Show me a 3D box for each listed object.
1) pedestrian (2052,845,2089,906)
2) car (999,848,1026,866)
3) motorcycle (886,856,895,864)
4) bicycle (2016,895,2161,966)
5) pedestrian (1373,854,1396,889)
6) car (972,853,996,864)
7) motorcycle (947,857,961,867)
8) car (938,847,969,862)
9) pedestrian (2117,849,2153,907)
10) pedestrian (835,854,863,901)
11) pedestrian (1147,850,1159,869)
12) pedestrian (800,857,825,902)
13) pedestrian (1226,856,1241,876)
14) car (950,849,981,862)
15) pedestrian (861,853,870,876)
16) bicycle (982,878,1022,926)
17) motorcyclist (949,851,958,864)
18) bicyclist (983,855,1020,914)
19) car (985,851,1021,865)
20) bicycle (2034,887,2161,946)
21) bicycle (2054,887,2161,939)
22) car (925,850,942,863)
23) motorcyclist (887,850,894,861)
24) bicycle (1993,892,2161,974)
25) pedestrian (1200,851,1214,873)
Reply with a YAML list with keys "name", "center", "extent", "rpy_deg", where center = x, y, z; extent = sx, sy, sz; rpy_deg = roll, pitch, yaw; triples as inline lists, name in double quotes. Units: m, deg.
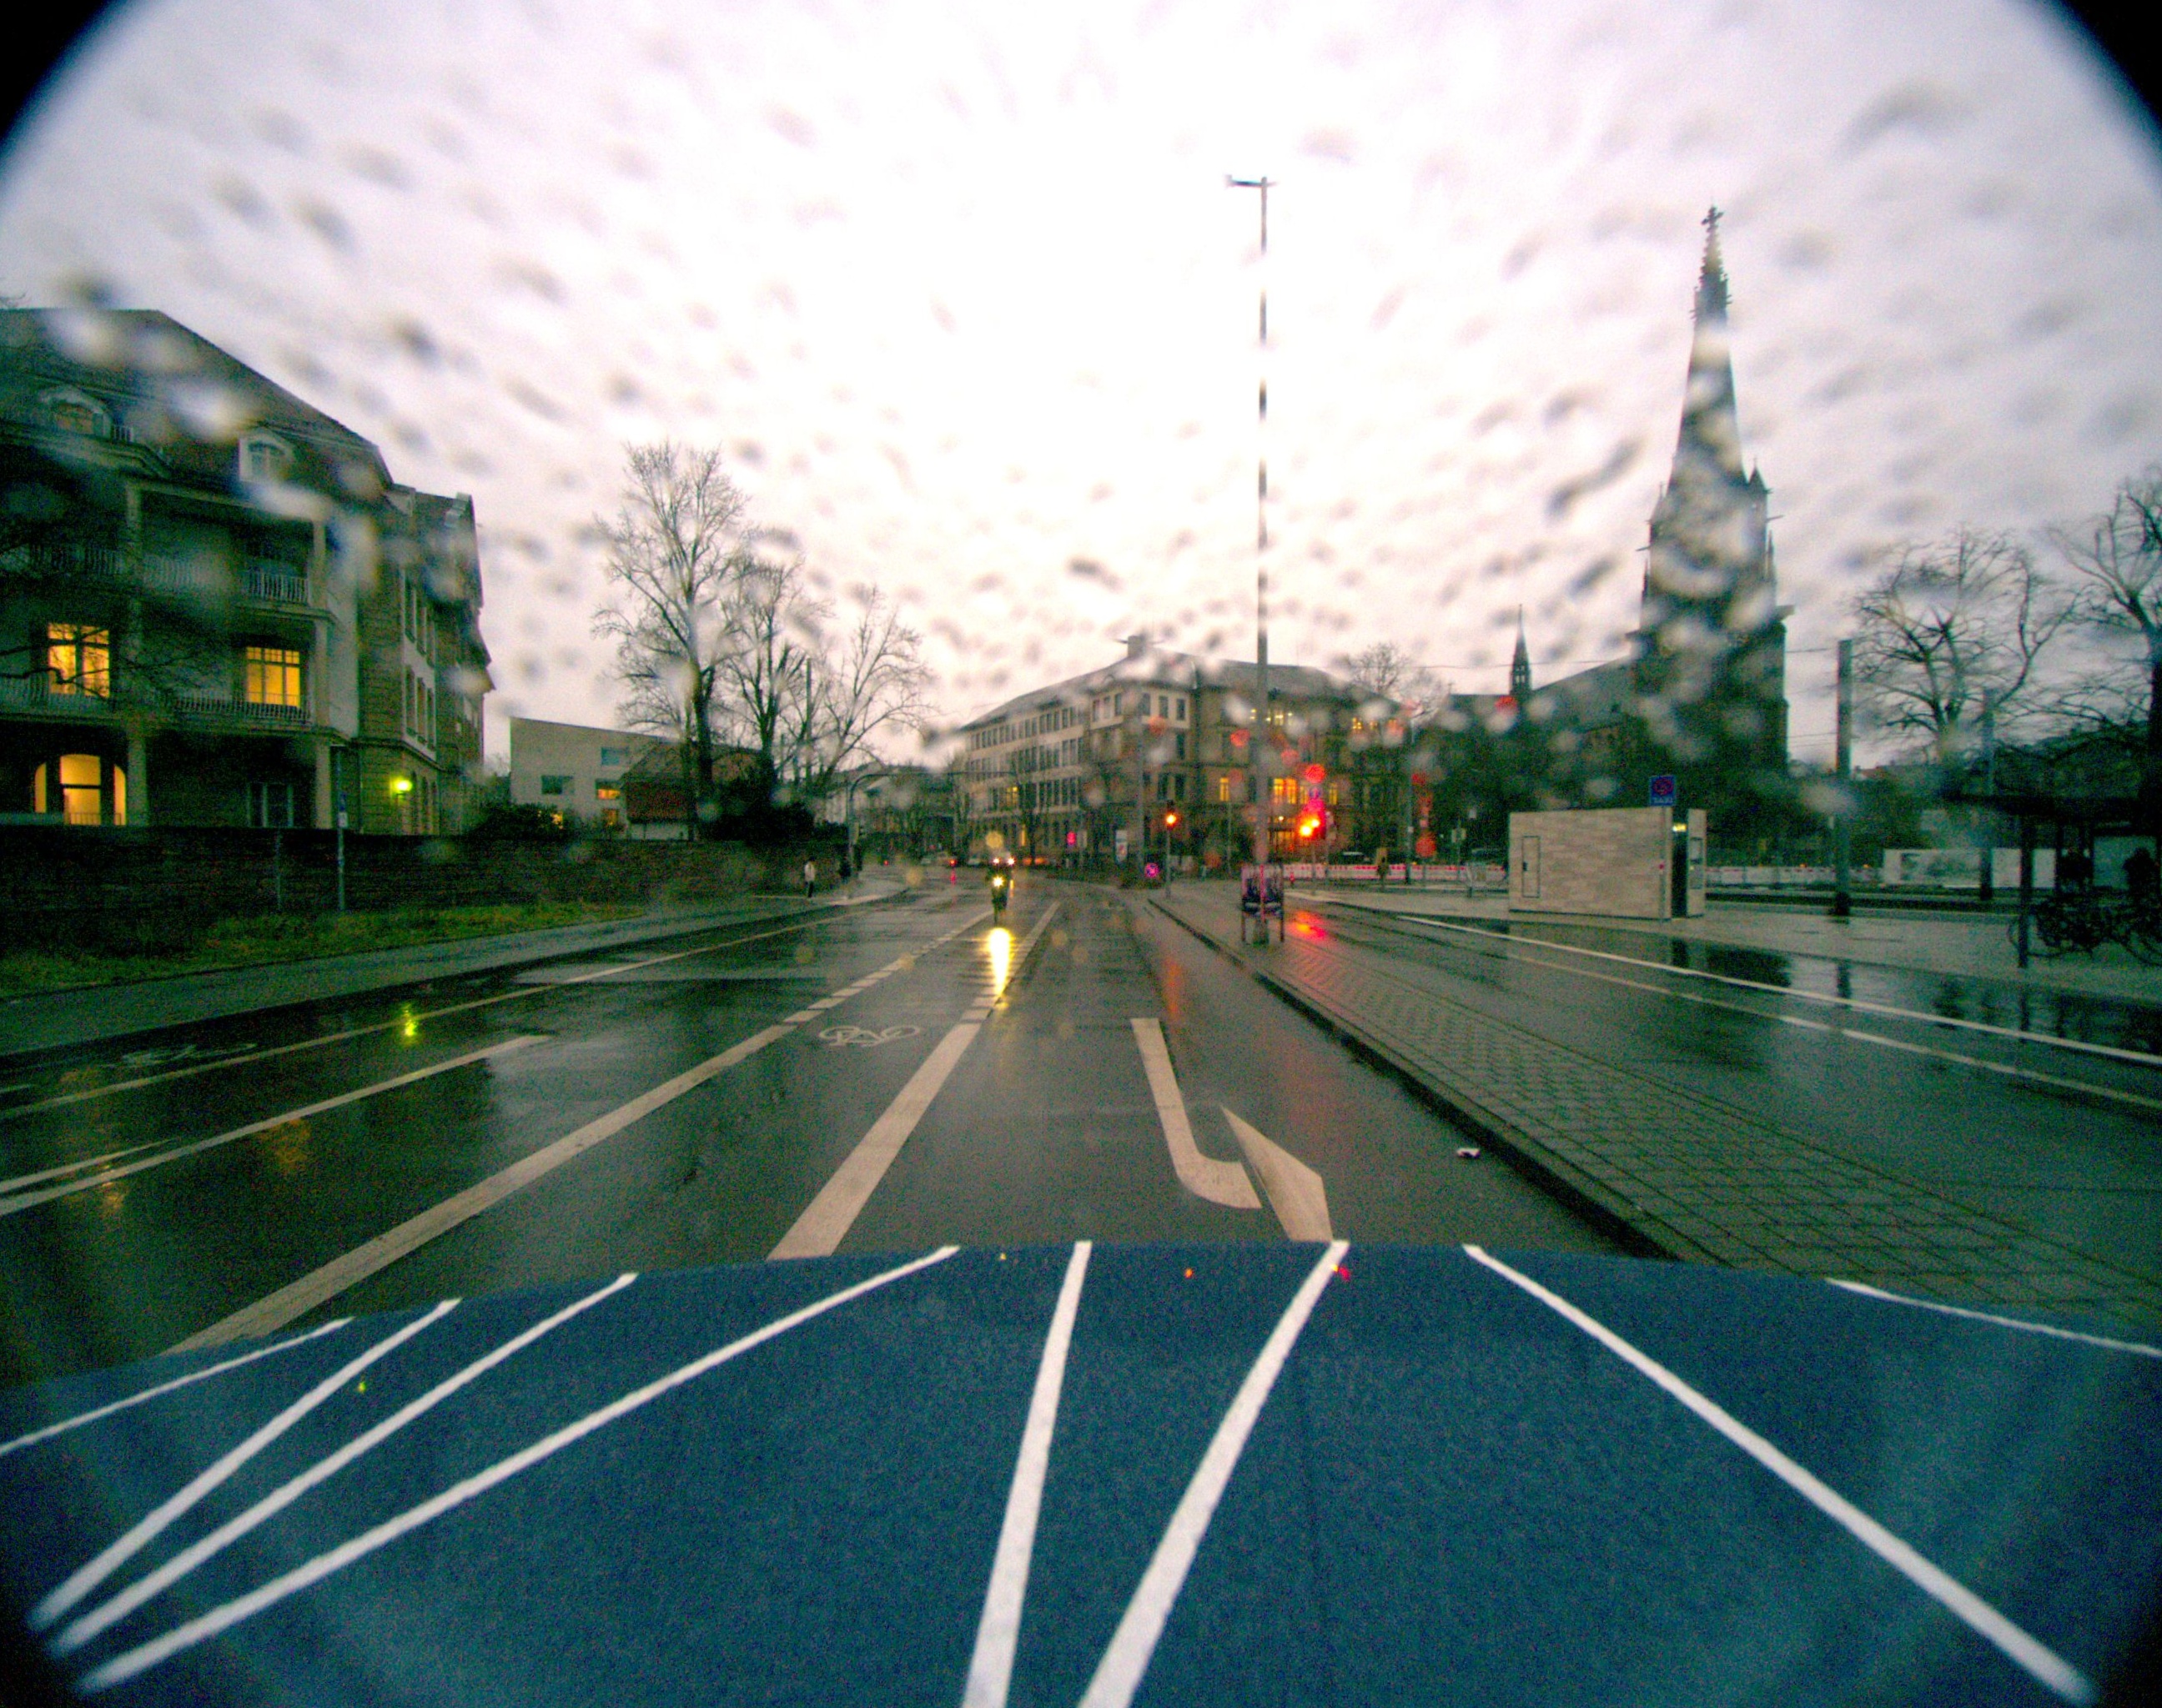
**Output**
- name: "pedestrian"
  center: [30.229, 0.648, 23.217]
  extent: [0.673, 1.785, 0.626]
  rpy_deg: [-3, 2, -41]
- name: "car"
  center: [-7.511, 0.354, 83.675]
  extent: [1.881, 1.835, 4.003]
  rpy_deg: [-2, 1, 11]
- name: "motorcycle"
  center: [-27.649, 0.838, 110.143]
  extent: [0.727, 1.048, 2.163]
  rpy_deg: [0, 0, -27]
- name: "bicycle"
  center: [16.610, 1.218, 12.218]
  extent: [0.475, 0.980, 1.921]
  rpy_deg: [-2, 2, -30]
- name: "pedestrian"
  center: [15.103, 0.870, 37.790]
  extent: [0.771, 1.651, 1.210]
  rpy_deg: [-1, 1, 36]
- name: "car"
  center: [-12.141, 0.579, 95.309]
  extent: [1.706, 1.298, 3.647]
  rpy_deg: [-2, 1, 16]
- name: "motorcycle"
  center: [-14.322, 0.882, 85.380]
  extent: [0.714, 1.048, 2.162]
  rpy_deg: [0, 0, -34]
- name: "car"
  center: [-17.003, 0.079, 101.473]
  extent: [2.043, 1.889, 4.007]
  rpy_deg: [-2, 1, 28]
- name: "pedestrian"
  center: [31.041, 0.698, 22.388]
  extent: [0.541, 1.642, 0.562]
  rpy_deg: [-3, 2, -41]
- name: "pedestrian"
  center: [-9.508, 0.939, 31.144]
  extent: [1.000, 1.890, 0.673]
  rpy_deg: [1, 1, -8]
- name: "pedestrian"
  center: [6.766, 0.519, 71.644]
  extent: [0.675, 1.806, 0.896]
  rpy_deg: [0, 1, -28]
- name: "pedestrian"
  center: [-10.523, 0.993, 29.774]
  extent: [0.799, 1.713, 0.673]
  rpy_deg: [1, 1, -9]
- name: "pedestrian"
  center: [13.067, 1.018, 64.981]
  extent: [0.829, 1.714, 0.926]
  rpy_deg: [0, 0, -29]
- name: "car"
  center: [-15.098, 0.203, 99.408]
  extent: [1.797, 1.541, 4.007]
  rpy_deg: [-2, 1, 28]
- name: "pedestrian"
  center: [-16.087, 0.784, 56.638]
  extent: [0.616, 1.644, 0.570]
  rpy_deg: [0, 0, -19]
- name: "bicycle"
  center: [-2.035, 1.219, 19.789]
  extent: [0.785, 1.069, 1.957]
  rpy_deg: [-2, 1, 1]
- name: "motorcyclist"
  center: [-14.345, 0.404, 85.404]
  extent: [0.702, 1.375, 0.864]
  rpy_deg: [0, 0, -34]
- name: "bicyclist"
  center: [-2.057, 0.783, 19.889]
  extent: [0.785, 1.444, 1.134]
  rpy_deg: [-2, 1, 1]
- name: "car"
  center: [-9.287, 0.485, 90.538]
  extent: [1.797, 1.541, 4.007]
  rpy_deg: [-1, 1, 45]
- name: "bicycle"
  center: [19.685, 1.173, 14.429]
  extent: [0.475, 0.980, 1.921]
  rpy_deg: [-2, 2, -30]
- name: "bicycle"
  center: [20.841, 1.166, 15.019]
  extent: [0.475, 0.905, 1.921]
  rpy_deg: [-2, 2, -30]
- name: "car"
  center: [-20.743, 0.375, 106.848]
  extent: [2.000, 1.660, 3.997]
  rpy_deg: [-2, 1, -7]
- name: "motorcyclist"
  center: [-27.590, 0.217, 110.038]
  extent: [0.712, 1.707, 0.740]
  rpy_deg: [0, 0, -27]
- name: "bicycle"
  center: [15.492, 1.185, 11.613]
  extent: [0.475, 1.064, 1.921]
  rpy_deg: [-2, 2, -30]
- name: "pedestrian"
  center: [10.852, 0.700, 65.349]
  extent: [0.675, 1.890, 0.971]
  rpy_deg: [0, 1, -33]
